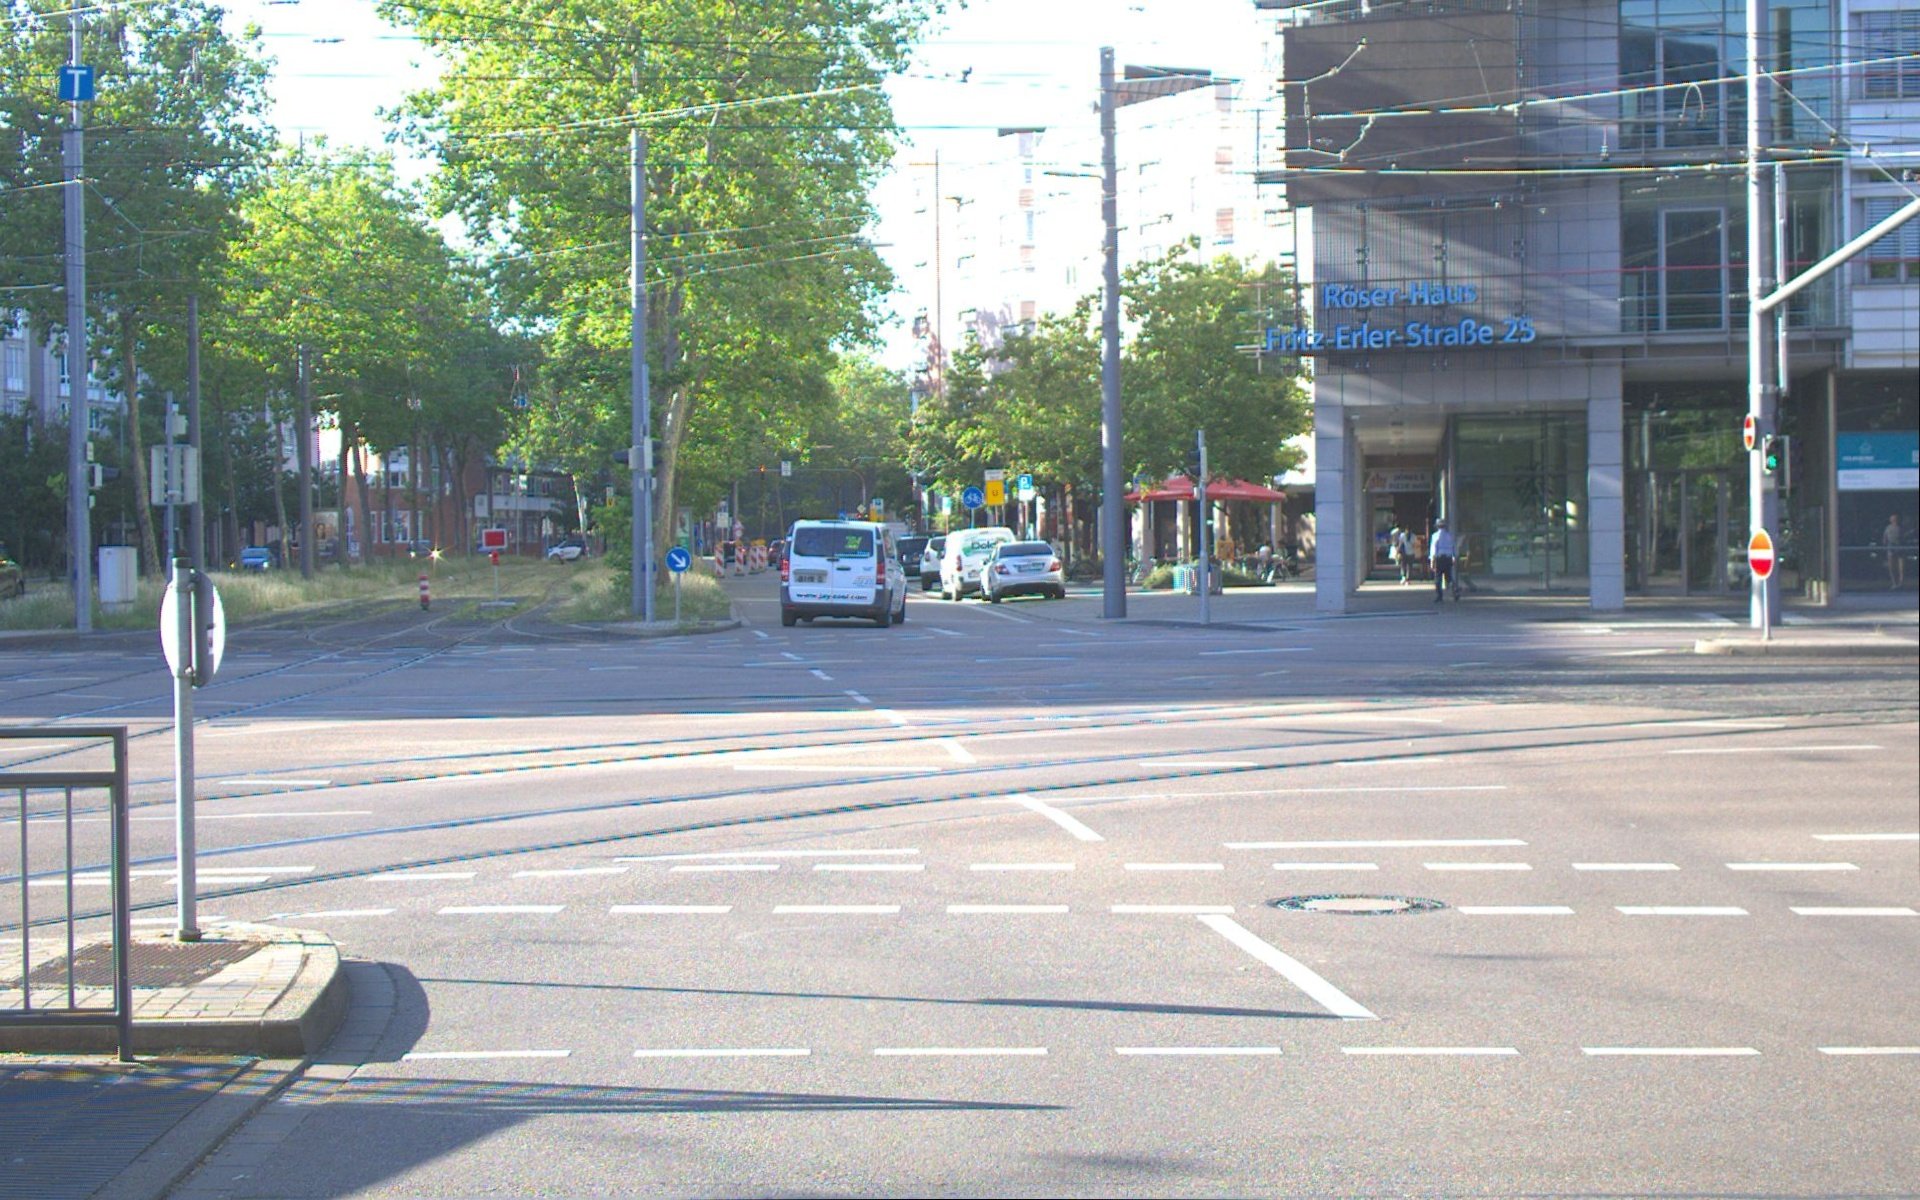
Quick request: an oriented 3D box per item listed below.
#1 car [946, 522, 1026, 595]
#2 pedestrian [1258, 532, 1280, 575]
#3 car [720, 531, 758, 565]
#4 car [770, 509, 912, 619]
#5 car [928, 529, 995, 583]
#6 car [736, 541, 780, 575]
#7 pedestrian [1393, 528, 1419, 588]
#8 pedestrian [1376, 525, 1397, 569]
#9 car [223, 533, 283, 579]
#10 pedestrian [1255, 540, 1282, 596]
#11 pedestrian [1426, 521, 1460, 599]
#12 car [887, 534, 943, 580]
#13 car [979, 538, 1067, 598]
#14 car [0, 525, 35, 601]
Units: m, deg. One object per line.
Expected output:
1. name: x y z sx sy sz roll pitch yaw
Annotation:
1. car: 0.650 -1.095 89.565 1.993 1.853 4.000 -1 1 -1
2. pedestrian: 9.539 -1.438 106.059 0.577 1.284 0.910 -1 1 -1
3. car: -13.183 -3.107 205.206 1.993 2.007 4.000 -1 1 -1
4. car: -2.058 -0.670 61.046 1.961 1.842 5.330 -1 1 4
5. car: 0.038 -1.359 105.211 1.993 1.612 4.000 -1 1 0
6. car: -8.624 -1.795 147.039 1.797 1.437 4.000 1 1 -2
7. pedestrian: 11.255 -1.057 86.738 0.612 1.502 0.579 -1 1 7
8. pedestrian: 16.713 -2.073 134.753 0.744 1.708 0.612 -1 1 -1
9. car: -31.468 -1.983 153.133 1.993 2.007 4.001 -1 1 -3
10. pedestrian: 9.426 -0.977 105.024 0.744 1.708 0.612 -1 1 -1
11. pedestrian: 9.402 -0.780 66.881 0.612 1.502 0.579 -1 1 6
12. car: -1.640 -1.597 126.661 1.993 1.612 4.000 -1 1 0
13. car: 1.494 -0.786 82.770 1.993 1.371 4.000 -1 1 -1
14. car: -21.664 -0.799 74.919 1.993 1.634 4.000 -1 1 -1
